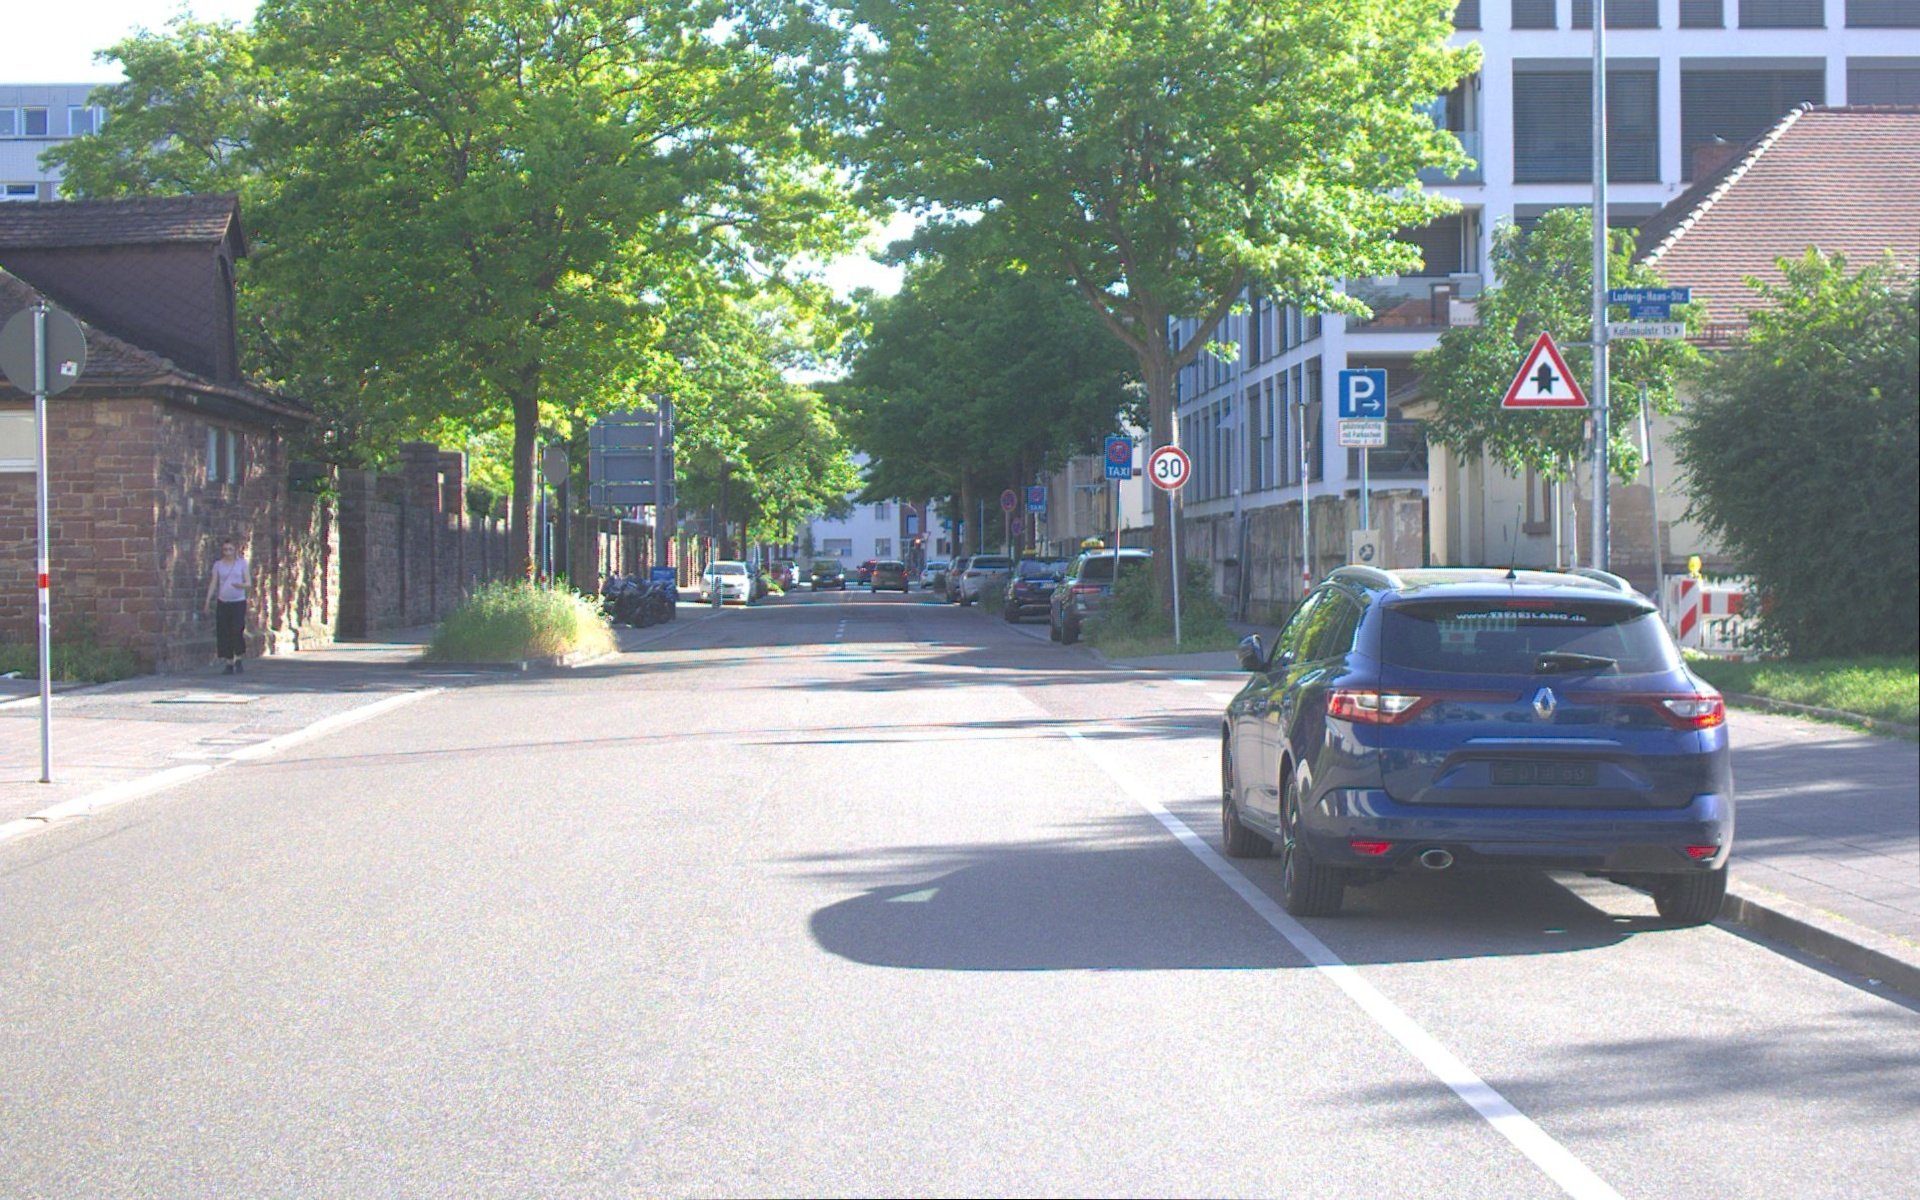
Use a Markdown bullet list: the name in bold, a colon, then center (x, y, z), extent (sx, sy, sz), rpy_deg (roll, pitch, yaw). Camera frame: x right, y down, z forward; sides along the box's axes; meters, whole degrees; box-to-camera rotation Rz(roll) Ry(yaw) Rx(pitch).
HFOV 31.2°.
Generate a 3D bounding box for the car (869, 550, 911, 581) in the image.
- **car**: center (-3.184, -1.577, 157.382), extent (1.889, 1.395, 3.837), rpy_deg (0, 1, -1)

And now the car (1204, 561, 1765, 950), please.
- **car**: center (2.180, 0.578, 15.416), extent (1.817, 1.448, 4.214), rpy_deg (1, 1, 0)

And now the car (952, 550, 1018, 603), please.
- **car**: center (0.735, -0.730, 105.239), extent (1.950, 1.573, 3.836), rpy_deg (0, 1, -1)

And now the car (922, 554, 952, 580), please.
- **car**: center (-1.269, -1.806, 186.348), extent (1.585, 1.395, 3.836), rpy_deg (0, 1, -1)

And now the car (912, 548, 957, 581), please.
- **car**: center (-1.146, -1.598, 153.501), extent (1.993, 1.420, 3.836), rpy_deg (0, 1, -1)

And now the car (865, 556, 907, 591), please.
- **car**: center (-3.387, -1.217, 156.611), extent (1.767, 1.543, 4.066), rpy_deg (-1, 1, -3)

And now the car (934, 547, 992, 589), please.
- **car**: center (0.081, -1.139, 120.869), extent (1.993, 1.460, 3.836), rpy_deg (0, 1, -1)

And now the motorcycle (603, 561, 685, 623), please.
- **motorcycle**: center (-6.700, -0.174, 72.978), extent (0.577, 1.271, 2.118), rpy_deg (0, 1, 32)

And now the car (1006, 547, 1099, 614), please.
- **car**: center (2.032, -0.442, 76.401), extent (1.767, 1.435, 4.000), rpy_deg (-1, 1, -3)

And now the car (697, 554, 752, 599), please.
- **car**: center (-7.999, -0.813, 117.116), extent (1.767, 1.482, 4.000), rpy_deg (-1, 1, -3)

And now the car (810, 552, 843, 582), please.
- **car**: center (-6.964, -1.748, 179.628), extent (1.653, 1.525, 4.000), rpy_deg (0, 1, -2)

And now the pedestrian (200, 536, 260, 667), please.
- **pedestrian**: center (-8.818, 0.005, 41.573), extent (0.521, 1.557, 1.096), rpy_deg (0, 1, -2)

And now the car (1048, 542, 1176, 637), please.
- **car**: center (2.395, -0.193, 55.327), extent (1.703, 1.463, 4.789), rpy_deg (0, 1, -2)
